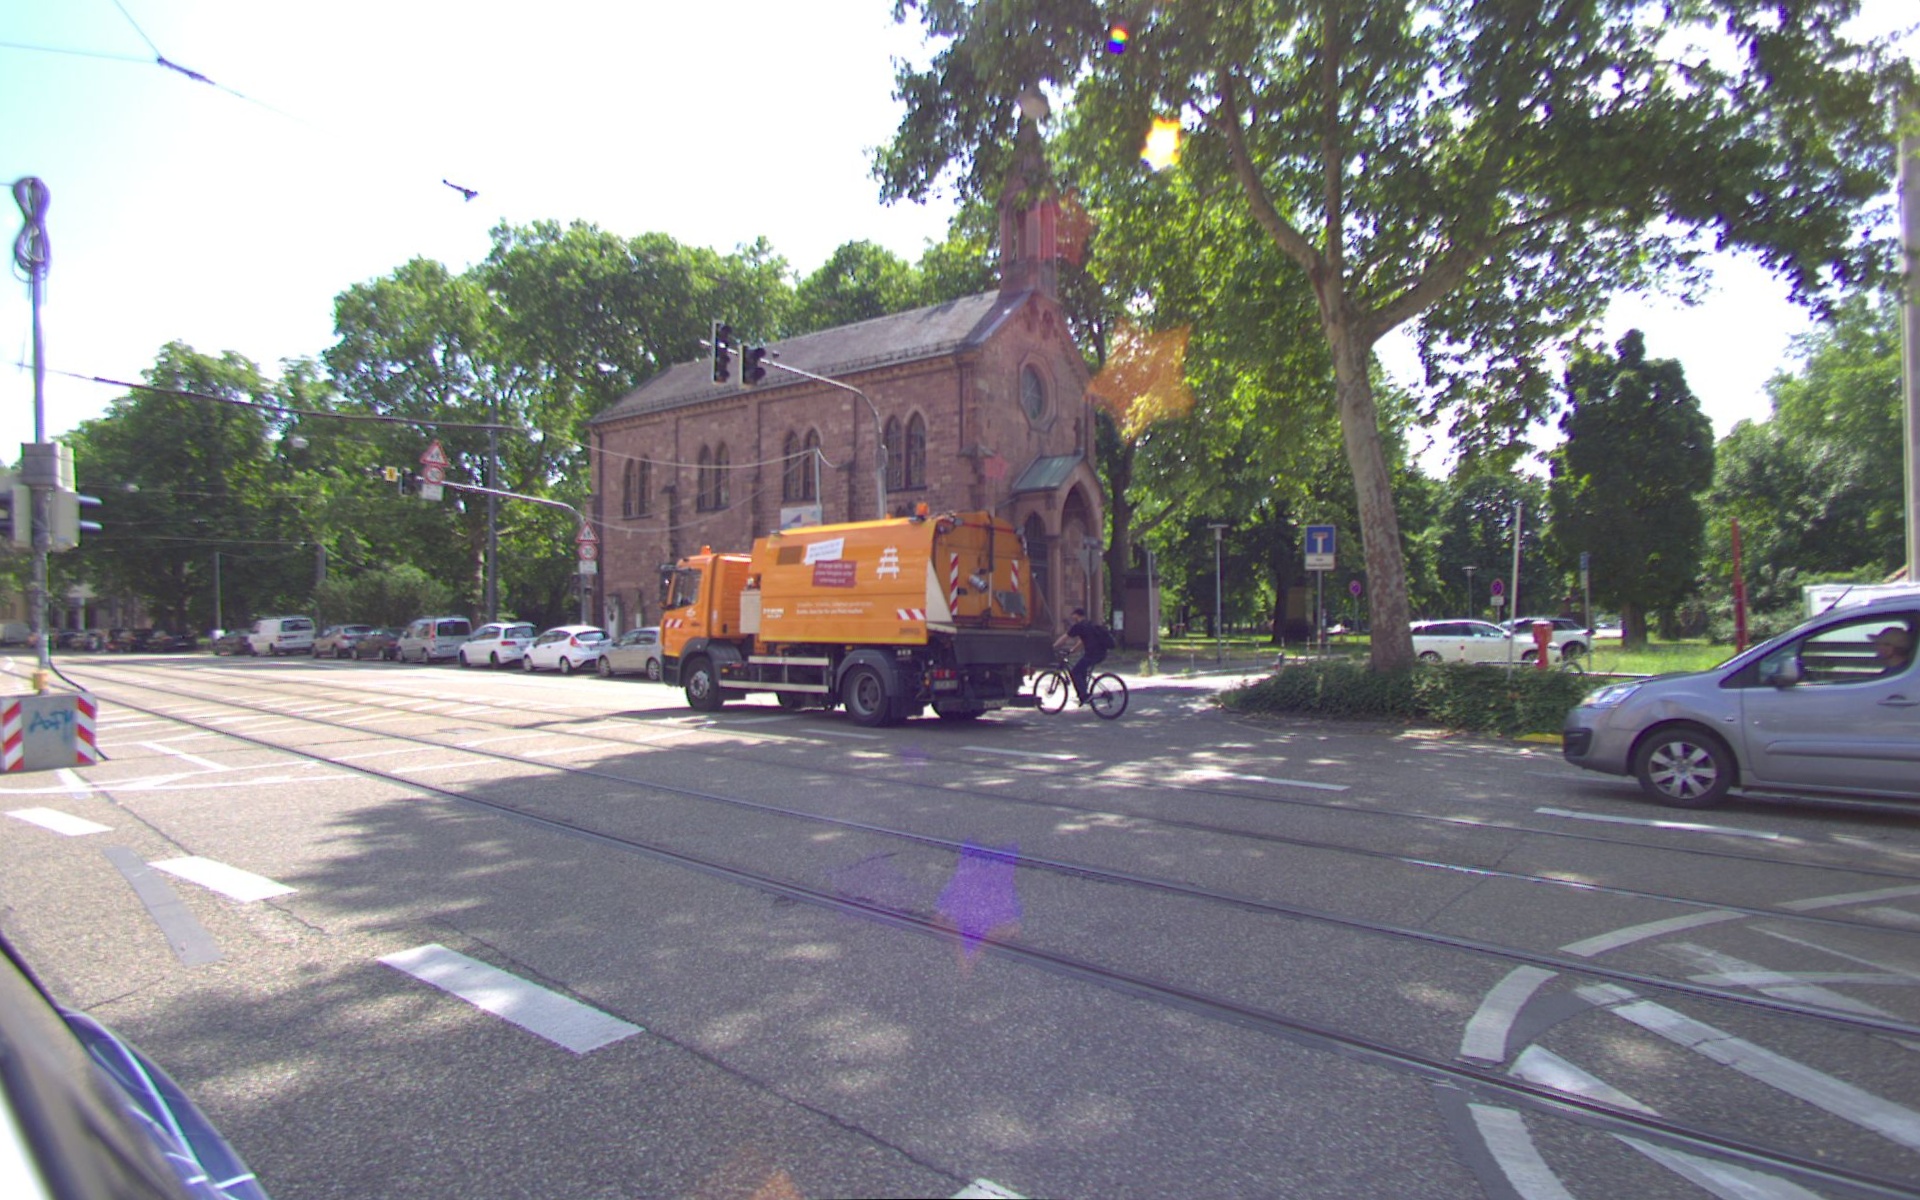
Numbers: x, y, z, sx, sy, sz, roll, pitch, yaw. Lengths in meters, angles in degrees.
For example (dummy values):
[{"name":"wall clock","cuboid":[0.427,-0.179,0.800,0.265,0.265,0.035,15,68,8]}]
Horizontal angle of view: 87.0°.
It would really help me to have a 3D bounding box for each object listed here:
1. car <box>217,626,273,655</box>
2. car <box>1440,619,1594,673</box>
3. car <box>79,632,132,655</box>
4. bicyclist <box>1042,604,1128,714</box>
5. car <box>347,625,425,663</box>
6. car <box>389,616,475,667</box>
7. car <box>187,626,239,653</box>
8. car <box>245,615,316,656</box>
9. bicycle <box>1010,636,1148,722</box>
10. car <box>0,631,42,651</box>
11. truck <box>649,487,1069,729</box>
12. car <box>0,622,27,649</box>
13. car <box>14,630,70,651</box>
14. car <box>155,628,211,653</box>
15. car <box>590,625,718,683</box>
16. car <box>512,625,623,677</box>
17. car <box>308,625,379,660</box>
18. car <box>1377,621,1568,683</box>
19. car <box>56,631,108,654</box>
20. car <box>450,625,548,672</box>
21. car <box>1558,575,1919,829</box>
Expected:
[{"name":"car","cuboid":[-39.698,2.239,56.180,3.999,1.508,1.738,-1,0,42]},{"name":"car","cuboid":[18.078,1.485,33.013,3.953,1.706,1.757,-1,-2,8]},{"name":"car","cuboid":[-59.047,2.994,69.904,3.988,1.508,1.743,-1,0,33]},{"name":"bicyclist","cuboid":[2.016,0.937,16.380,1.175,1.699,0.694,-2,-2,41]},{"name":"car","cuboid":[-24.637,1.836,43.366,3.999,1.508,1.738,-1,0,42]},{"name":"car","cuboid":[-20.833,1.600,39.873,3.999,1.850,1.738,-1,0,42]},{"name":"car","cuboid":[-44.710,2.358,60.557,3.999,1.508,1.738,-1,0,42]},{"name":"car","cuboid":[-35.241,1.807,52.448,4.081,2.019,1.968,-1,0,39]},{"name":"bicycle","cuboid":[1.906,1.244,16.476,2.217,1.300,0.697,-2,-2,41]},{"name":"car","cuboid":[-72.905,3.163,78.002,3.975,1.508,1.749,-1,0,24]},{"name":"truck","cuboid":[-1.927,0.211,16.443,7.220,3.130,2.611,-1,-3,42]},{"name":"car","cuboid":[-80.444,2.952,84.584,3.959,2.201,1.755,-1,0,13]},{"name":"car","cuboid":[-68.869,3.035,75.912,3.978,1.508,1.747,-1,0,26]},{"name":"car","cuboid":[-49.446,2.572,64.415,3.991,1.508,1.741,-1,0,35]},{"name":"car","cuboid":[-8.904,1.516,29.295,3.999,1.508,1.738,-1,0,42]},{"name":"car","cuboid":[-12.671,1.594,32.586,3.999,1.508,1.738,-1,0,42]},{"name":"car","cuboid":[-28.430,1.926,46.659,3.999,1.508,1.738,-1,0,42]},{"name":"car","cuboid":[14.089,1.424,28.056,4.364,1.620,1.755,-1,-2,12]},{"name":"car","cuboid":[-62.772,3.018,72.319,3.987,1.508,1.743,-1,0,32]},{"name":"car","cuboid":[-16.365,1.683,35.873,3.999,1.508,1.738,-1,0,42]},{"name":"car","cuboid":[7.341,0.754,7.705,4.535,1.759,1.900,-1,-4,41]}]
